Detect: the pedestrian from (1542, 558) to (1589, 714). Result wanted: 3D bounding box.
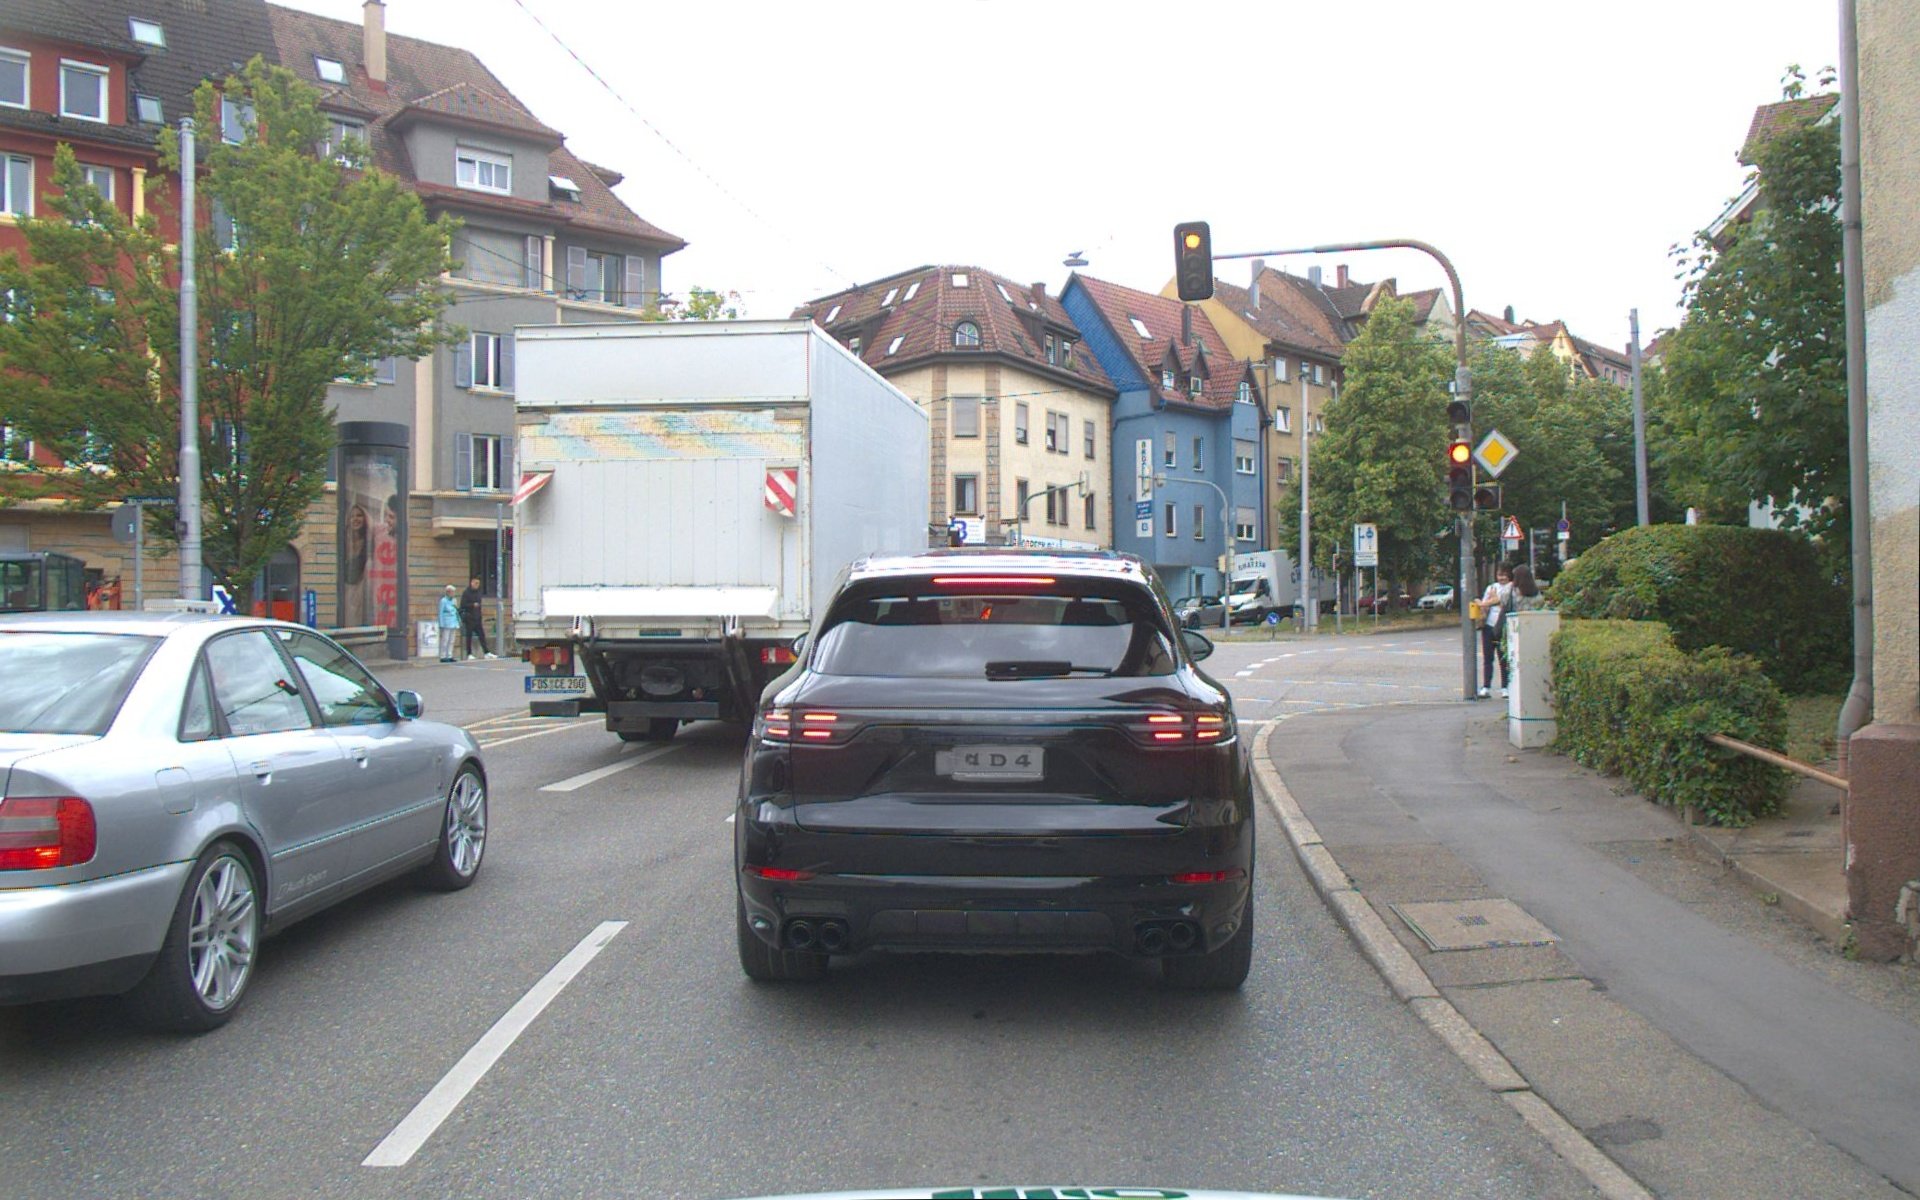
[{"bbox_3d":[7.411,0.438,20.248,0.453,1.869,0.324,2,-1,14],"label":"pedestrian"}]

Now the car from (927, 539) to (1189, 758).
[{"bbox_3d":[1.036,0.381,15.068,1.951,1.713,4.003,0,0,10],"label":"car"}]

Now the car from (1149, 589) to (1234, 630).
[{"bbox_3d":[10.088,0.416,72.024,1.962,1.713,3.982,0,0,38],"label":"car"}]

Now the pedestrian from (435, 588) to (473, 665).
[{"bbox_3d":[-10.641,0.554,34.791,0.577,1.594,0.486,2,-1,-1],"label":"pedestrian"}]

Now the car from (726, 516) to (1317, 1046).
[{"bbox_3d":[0.093,0.561,7.408,1.939,1.713,3.997,0,1,-4],"label":"car"}]

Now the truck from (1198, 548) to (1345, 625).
[{"bbox_3d":[14.925,-0.595,78.729,2.830,3.398,8.744,2,0,41],"label":"truck"}]

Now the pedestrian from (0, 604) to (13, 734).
[{"bbox_3d":[-13.281,0.930,22.560,0.537,1.760,0.586,2,-1,-35],"label":"pedestrian"}]

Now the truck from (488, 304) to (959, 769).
[{"bbox_3d":[-1.908,-0.553,17.128,2.710,3.637,8.071,1,1,8],"label":"truck"}]

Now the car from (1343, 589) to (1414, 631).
[{"bbox_3d":[21.896,0.528,86.477,1.965,2.049,3.975,2,0,42],"label":"car"}]

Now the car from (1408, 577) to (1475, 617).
[{"bbox_3d":[26.705,-0.163,91.687,1.965,2.049,3.975,2,0,42],"label":"car"}]

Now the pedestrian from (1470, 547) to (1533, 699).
[{"bbox_3d":[6.757,0.281,20.654,0.577,1.851,0.529,2,-1,5],"label":"pedestrian"}]

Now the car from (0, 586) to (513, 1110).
[{"bbox_3d":[-3.237,0.669,6.668,1.661,1.397,4.178,0,1,1],"label":"car"}]

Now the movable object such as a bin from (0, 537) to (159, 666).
[{"bbox_3d":[-13.881,-0.002,25.513,1.870,1.802,3.986,2,0,-14],"label":"movable object such as a bin"}]
